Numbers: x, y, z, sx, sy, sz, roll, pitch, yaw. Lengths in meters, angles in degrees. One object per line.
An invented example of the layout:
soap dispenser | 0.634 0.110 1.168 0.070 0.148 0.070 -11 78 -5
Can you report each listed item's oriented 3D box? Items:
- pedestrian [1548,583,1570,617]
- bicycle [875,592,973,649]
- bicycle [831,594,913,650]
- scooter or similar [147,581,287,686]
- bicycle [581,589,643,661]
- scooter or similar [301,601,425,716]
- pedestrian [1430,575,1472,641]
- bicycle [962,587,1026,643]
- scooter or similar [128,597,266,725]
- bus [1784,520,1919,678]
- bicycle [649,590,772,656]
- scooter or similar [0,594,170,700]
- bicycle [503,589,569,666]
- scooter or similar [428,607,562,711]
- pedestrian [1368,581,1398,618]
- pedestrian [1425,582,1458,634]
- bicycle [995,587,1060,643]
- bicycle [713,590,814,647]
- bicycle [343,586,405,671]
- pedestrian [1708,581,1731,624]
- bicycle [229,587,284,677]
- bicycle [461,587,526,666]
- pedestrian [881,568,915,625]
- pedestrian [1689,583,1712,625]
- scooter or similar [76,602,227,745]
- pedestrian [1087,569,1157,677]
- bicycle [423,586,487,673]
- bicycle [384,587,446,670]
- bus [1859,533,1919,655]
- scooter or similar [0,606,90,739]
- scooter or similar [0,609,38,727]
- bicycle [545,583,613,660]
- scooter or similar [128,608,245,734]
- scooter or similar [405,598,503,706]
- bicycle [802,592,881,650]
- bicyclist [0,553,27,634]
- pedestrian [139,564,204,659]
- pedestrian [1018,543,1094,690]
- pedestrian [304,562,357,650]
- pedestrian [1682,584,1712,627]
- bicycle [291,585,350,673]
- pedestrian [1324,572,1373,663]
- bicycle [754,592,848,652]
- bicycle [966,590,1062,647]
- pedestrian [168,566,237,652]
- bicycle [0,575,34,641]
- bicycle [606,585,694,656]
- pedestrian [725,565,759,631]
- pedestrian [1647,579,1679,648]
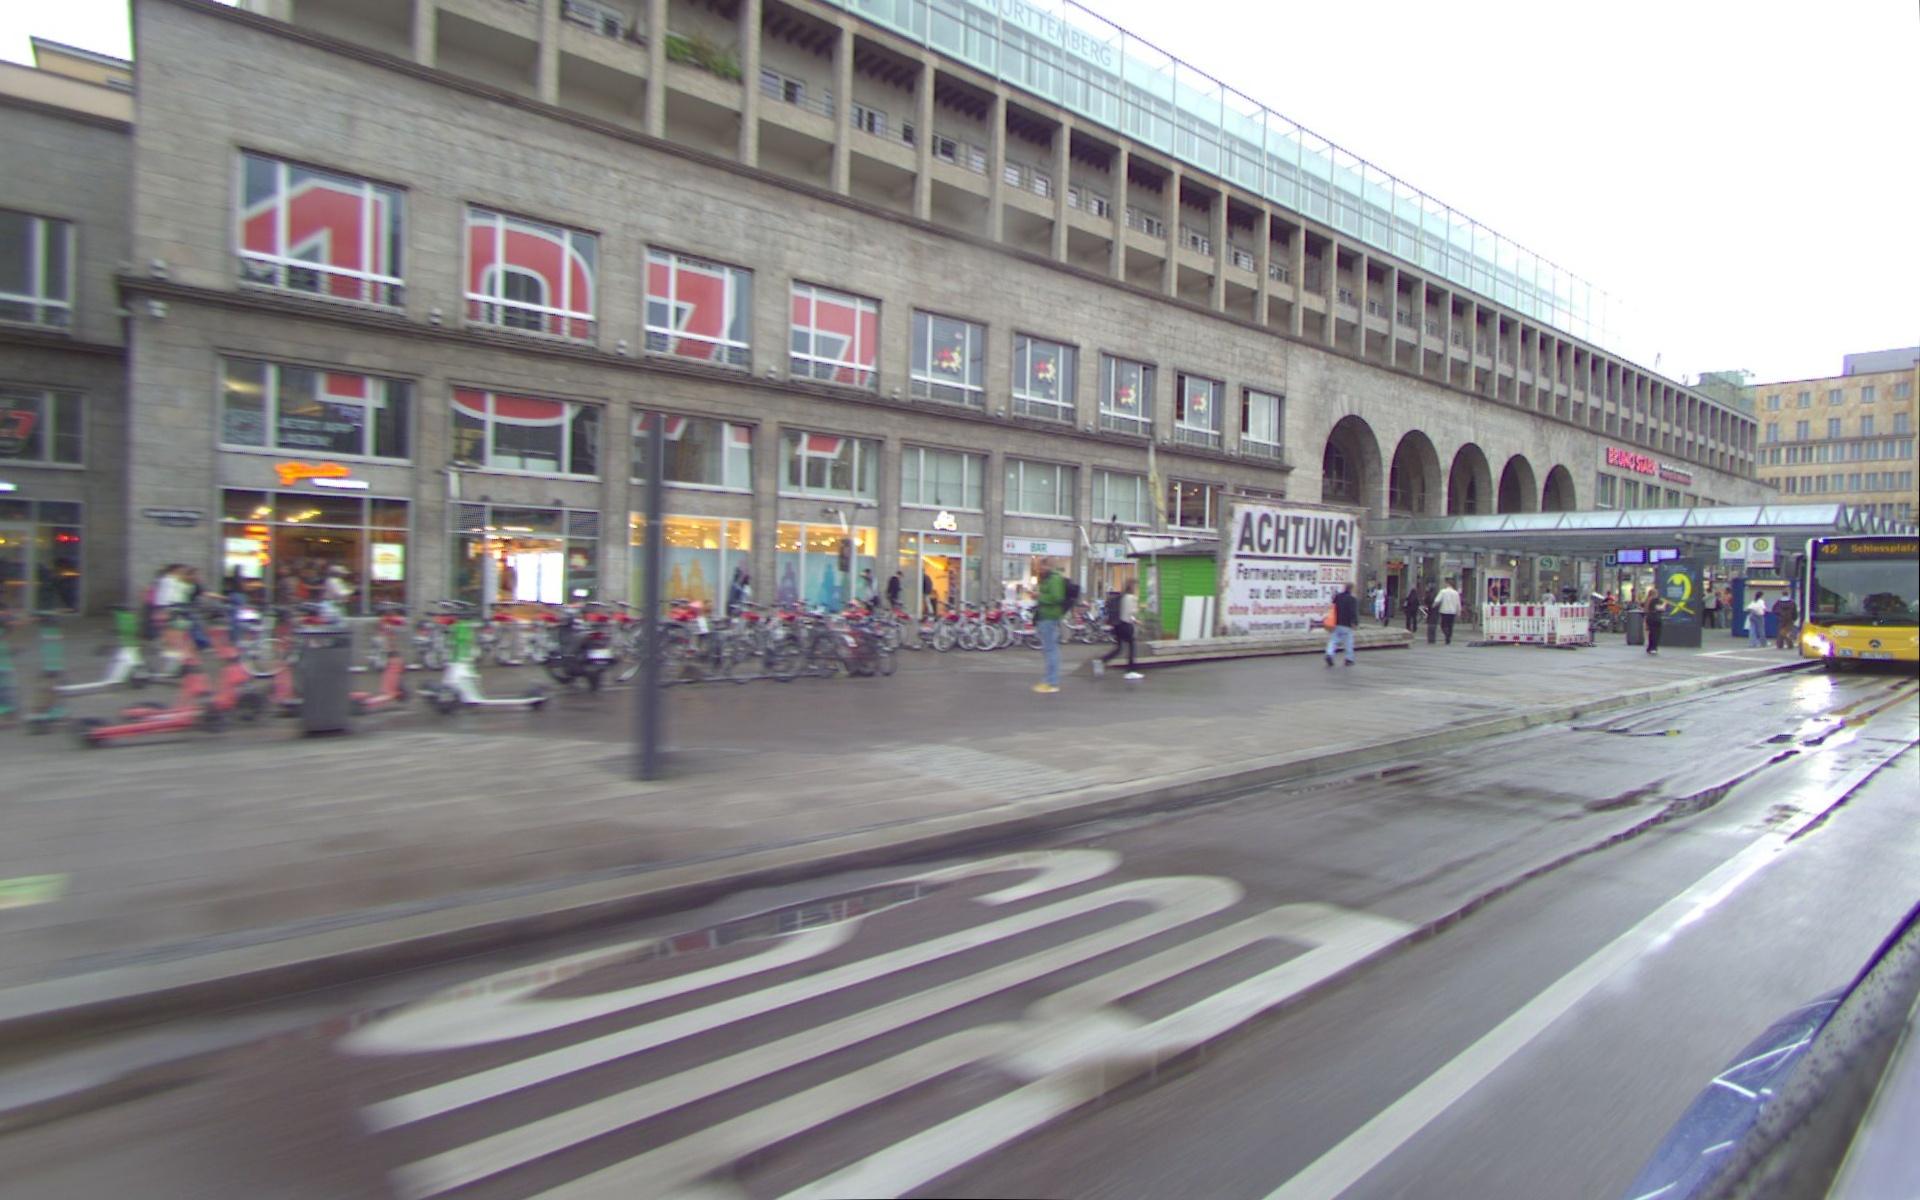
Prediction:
pedestrian | 29.500 -0.007 49.820 0.792 1.639 0.859 1 1 40
bicycle | -0.835 0.450 23.200 2.068 1.153 0.882 3 2 25
bicycle | -1.954 0.469 22.483 1.720 1.122 0.681 3 2 29
scooter or similar | -10.553 0.466 14.389 1.682 1.446 0.621 0 0 10
bicycle | -6.629 0.454 19.212 0.606 1.240 1.621 0 3 -38
scooter or similar | -6.937 0.644 11.829 0.559 1.246 1.368 0 0 4
pedestrian | 13.759 0.211 28.376 0.741 1.815 0.736 0 1 -25
bicycle | 0.833 0.349 25.146 0.605 1.252 1.999 1 3 -30
scooter or similar | -8.128 0.620 10.807 1.152 1.297 0.369 -1 0 -39
bus | 22.683 -0.085 24.125 9.079 3.245 3.119 -1 0 -40
bicycle | -5.136 0.432 20.665 2.872 1.122 0.868 4 3 39
scooter or similar | -11.456 0.564 13.196 0.614 1.276 1.738 0 0 23
bicycle | -7.731 0.464 18.404 0.606 1.252 1.995 0 3 -38
scooter or similar | -5.316 0.661 11.627 1.337 1.144 0.439 -1 -2 -14
pedestrian | 19.200 -0.029 45.976 0.973 1.609 0.789 1 1 -3
pedestrian | 17.220 0.266 36.185 0.981 1.815 0.783 1 1 22
bicycle | 1.645 0.342 25.118 0.605 1.252 1.999 1 3 -29
bicycle | -4.086 0.367 20.973 2.218 1.123 0.733 0 0 36
bicycle | -9.751 0.433 16.807 0.606 1.252 1.995 0 3 -38
pedestrian | 34.143 0.109 45.503 0.612 1.883 0.609 0 0 -30
bicycle | -11.067 0.460 15.901 0.606 1.252 1.995 0 3 -38
bicycle | -8.329 0.438 18.021 0.606 1.252 1.995 0 3 -38
pedestrian | -1.917 -0.106 31.122 0.762 1.718 0.723 -1 0 -40
pedestrian | 33.821 0.171 46.205 0.579 1.898 0.598 0 0 -6
scooter or similar | -7.556 0.657 9.492 1.079 1.252 0.325 -1 0 -39
pedestrian | 2.578 0.343 16.113 0.772 1.662 0.790 0 1 -25
bicycle | -8.808 0.467 17.603 0.606 1.351 1.995 0 3 -38
bicycle | -9.279 0.450 17.191 0.606 1.252 1.995 0 3 -38
bus | 29.585 -0.230 29.916 8.972 3.288 3.148 -1 0 -39
scooter or similar | -9.617 0.710 10.349 0.429 1.265 1.368 0 0 -9
scooter or similar | -10.277 0.718 10.541 0.466 1.232 1.100 0 0 -9
bicycle | -7.114 0.371 18.822 0.606 1.281 1.995 0 3 -38
scooter or similar | -7.959 0.703 10.427 0.940 1.222 0.306 -1 0 -39
scooter or similar | -6.357 0.615 12.694 1.300 1.272 0.585 0 0 37
bicycle | -2.590 0.437 21.975 1.685 1.122 0.666 3 3 36
bicyclist | -19.120 -0.134 19.959 0.893 1.573 0.650 1 1 10
pedestrian | -13.751 0.185 17.669 0.604 1.621 0.647 0 2 -2
pedestrian | 1.332 0.207 14.005 0.705 1.956 0.777 1 1 41
pedestrian | -12.456 0.101 20.030 0.871 1.695 0.795 -1 0 -32
pedestrian | 29.685 0.199 40.777 0.885 1.716 0.751 0 0 -36
bicycle | -10.340 0.425 16.329 0.606 1.252 1.995 0 3 -38
pedestrian | 7.106 0.306 18.514 0.491 1.639 0.654 0 1 -25
bicycle | -3.396 0.442 21.541 1.971 1.122 0.814 3 3 36
bicycle | 1.254 0.422 23.679 2.145 1.252 0.619 2 2 -5
pedestrian | -13.939 0.155 18.637 0.767 1.542 0.672 1 1 -2
bicycle | -19.504 0.138 20.055 1.981 1.271 0.660 1 1 11
bicycle | -6.104 0.371 19.881 1.986 1.252 0.609 3 3 38
pedestrian | -5.749 -0.073 26.712 0.695 1.710 0.598 0 1 -40
pedestrian | 17.049 0.326 24.549 0.592 1.639 0.504 0 0 40
